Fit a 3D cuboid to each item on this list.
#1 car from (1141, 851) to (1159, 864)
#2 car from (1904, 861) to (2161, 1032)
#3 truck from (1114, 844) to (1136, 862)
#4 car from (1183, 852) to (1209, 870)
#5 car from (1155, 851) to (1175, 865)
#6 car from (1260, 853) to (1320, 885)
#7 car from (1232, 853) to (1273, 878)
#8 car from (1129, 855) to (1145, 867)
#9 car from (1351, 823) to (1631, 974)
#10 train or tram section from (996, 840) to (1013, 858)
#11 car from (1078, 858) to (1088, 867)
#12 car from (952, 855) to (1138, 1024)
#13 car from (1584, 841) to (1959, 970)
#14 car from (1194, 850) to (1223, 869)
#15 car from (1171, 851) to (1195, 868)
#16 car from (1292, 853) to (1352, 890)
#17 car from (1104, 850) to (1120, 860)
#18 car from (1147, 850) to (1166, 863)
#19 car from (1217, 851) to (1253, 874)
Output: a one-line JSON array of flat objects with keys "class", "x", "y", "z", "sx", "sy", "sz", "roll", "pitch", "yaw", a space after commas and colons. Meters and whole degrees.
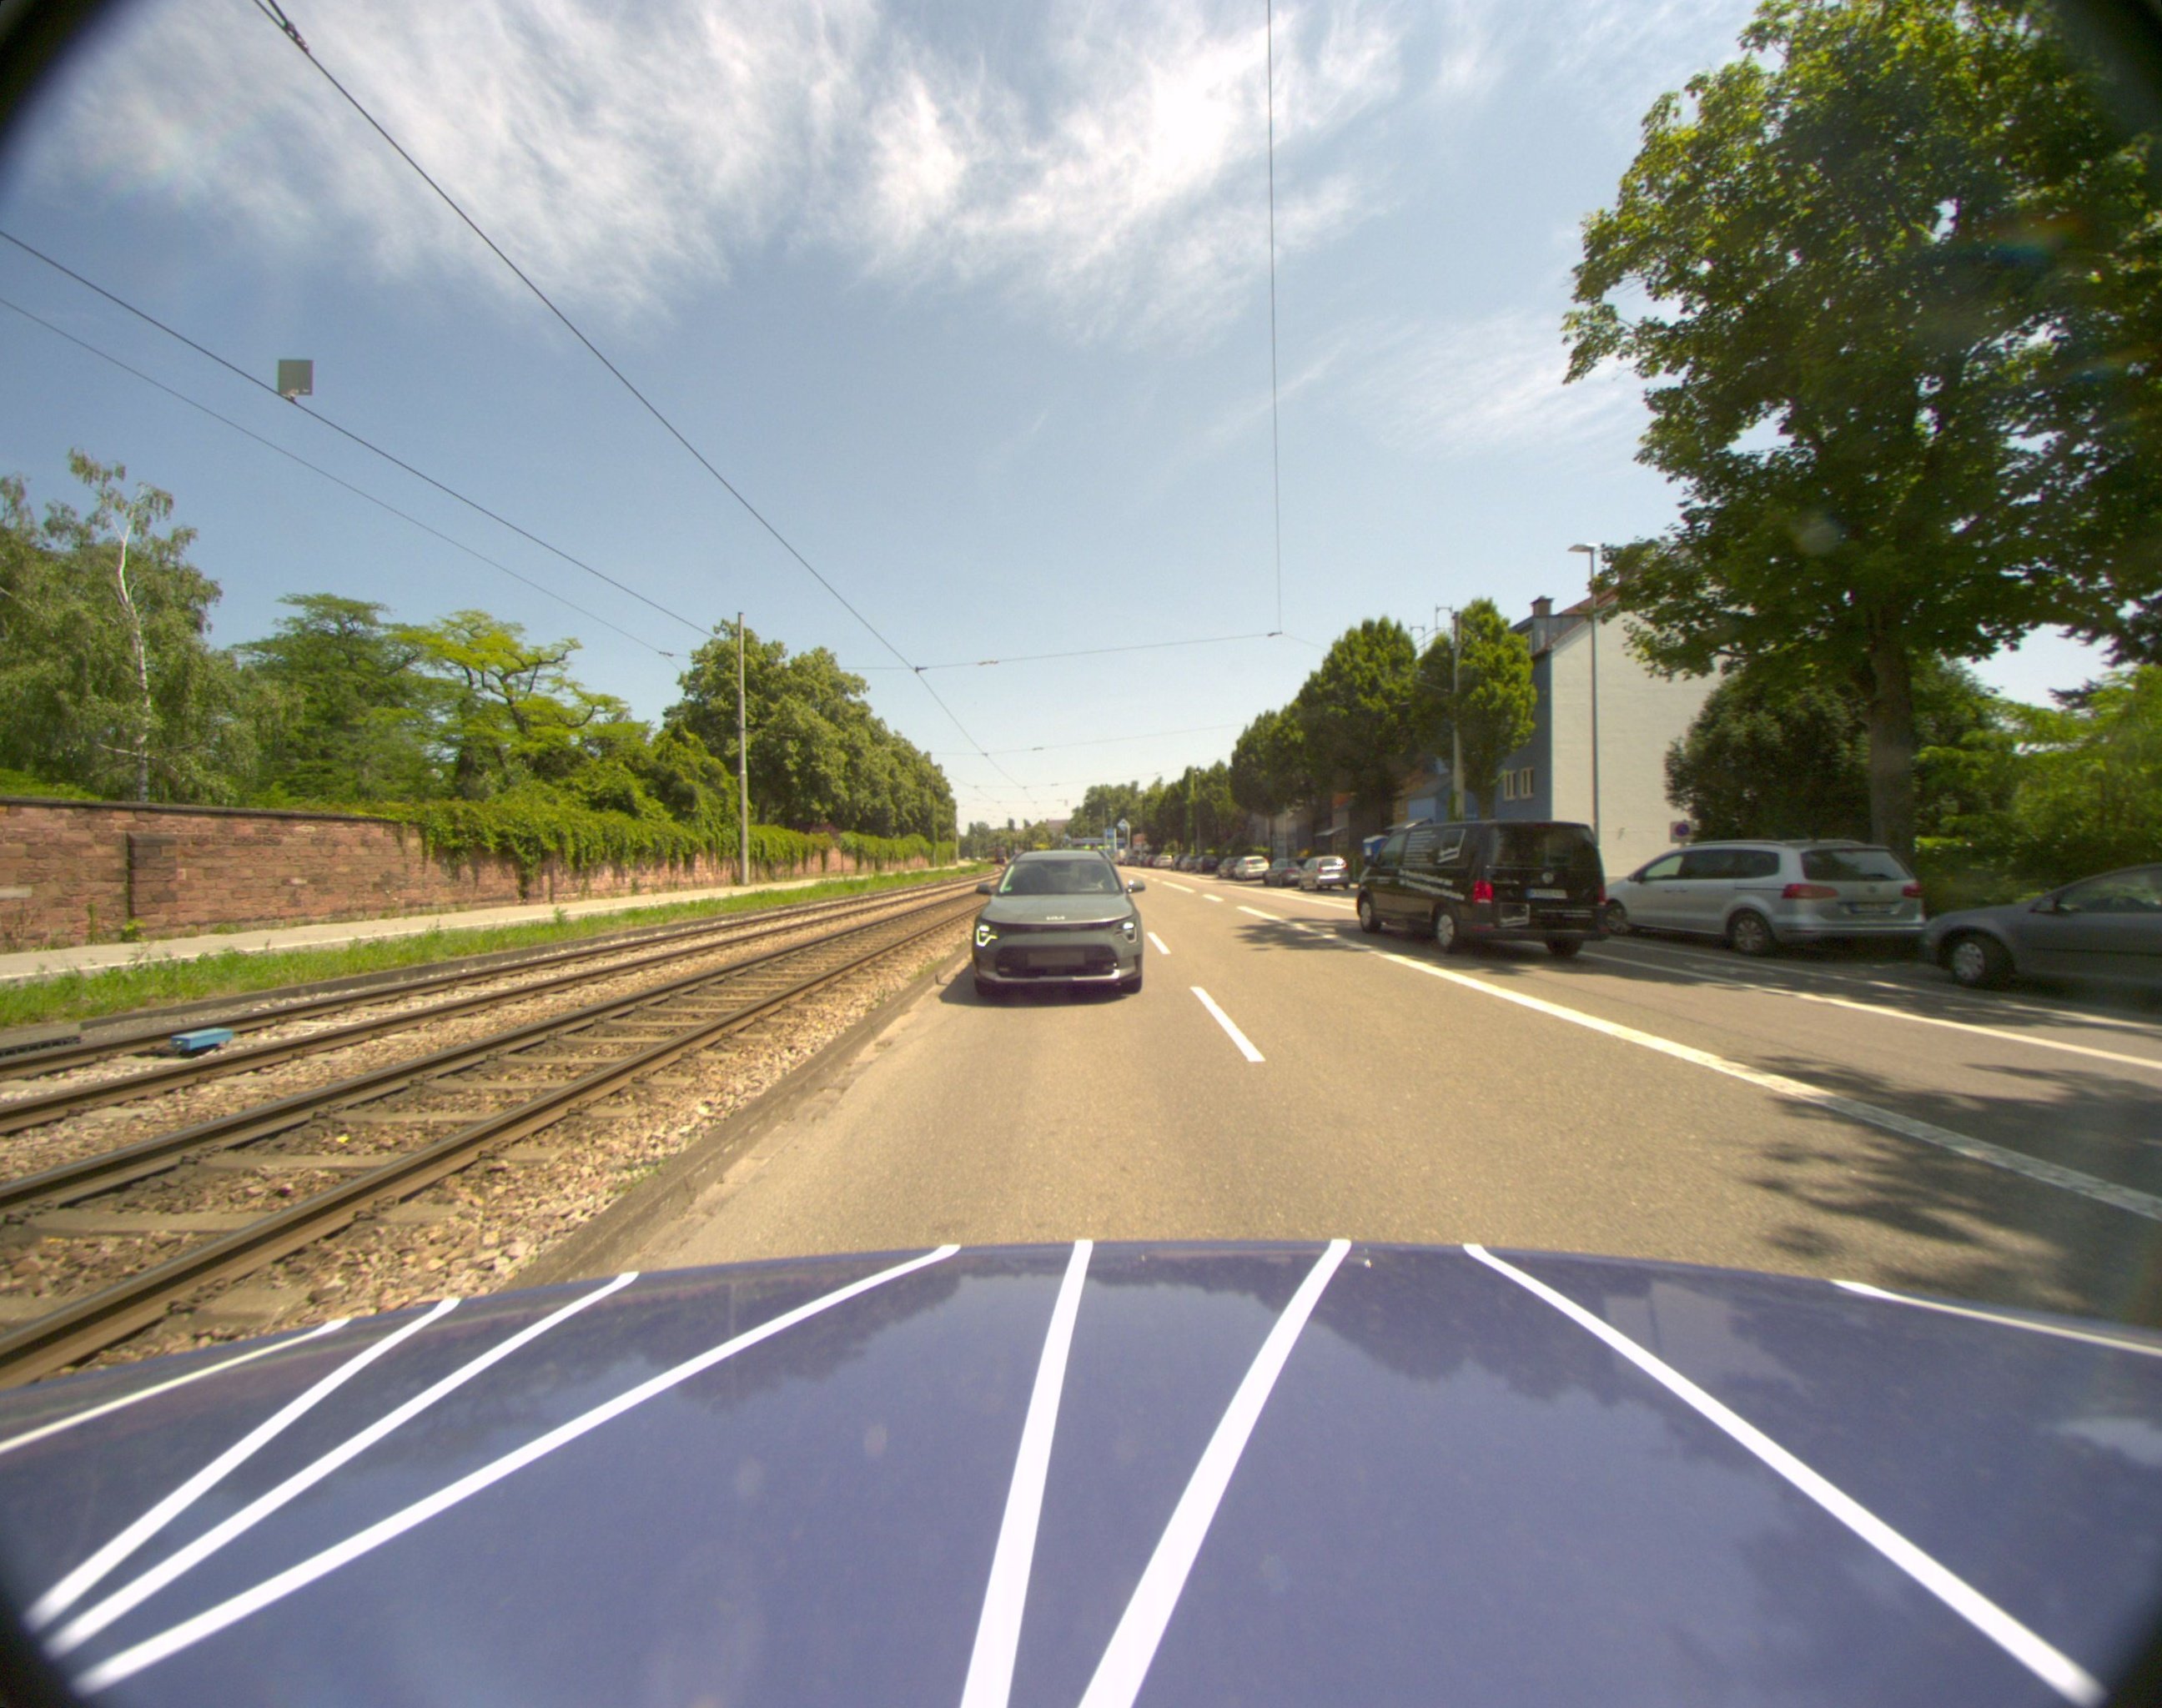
[{"class": "car", "x": 9.009, "y": 0.448, "z": 99.251, "sx": 1.865, "sy": 1.487, "sz": 3.470, "roll": -4, "pitch": 0, "yaw": -1}, {"class": "car", "x": 10.586, "y": 0.847, "z": 6.928, "sx": 1.680, "sy": 1.478, "sz": 4.128, "roll": -1, "pitch": 0, "yaw": 0}, {"class": "truck", "x": 6.612, "y": -0.181, "z": 114.375, "sx": 2.135, "sy": 2.565, "sz": 4.860, "roll": -4, "pitch": 0, "yaw": -9}, {"class": "car", "x": 10.663, "y": 0.605, "z": 70.764, "sx": 1.656, "sy": 1.487, "sz": 4.082, "roll": -4, "pitch": 0, "yaw": -1}, {"class": "car", "x": 9.745, "y": 0.397, "z": 88.608, "sx": 1.723, "sy": 1.487, "sz": 4.082, "roll": -4, "pitch": 0, "yaw": -1}, {"class": "car", "x": 10.781, "y": 0.729, "z": 39.540, "sx": 1.680, "sy": 1.487, "sz": 4.638, "roll": -4, "pitch": 0, "yaw": -1}, {"class": "car", "x": 11.126, "y": 0.729, "z": 49.454, "sx": 1.656, "sy": 1.487, "sz": 3.649, "roll": -4, "pitch": 0, "yaw": -1}, {"class": "car", "x": 8.032, "y": 0.961, "z": 108.358, "sx": 1.865, "sy": 1.487, "sz": 3.470, "roll": -4, "pitch": 0, "yaw": -1}, {"class": "car", "x": 6.042, "y": 0.564, "z": 11.989, "sx": 1.923, "sy": 1.899, "sz": 4.570, "roll": 1, "pitch": 0, "yaw": 0}, {"class": "train or tram section", "x": -17.113, "y": -1.249, "z": 170.610, "sx": 2.814, "sy": 3.785, "sz": 14.257, "roll": -1, "pitch": 1, "yaw": -2}, {"class": "car", "x": 0.328, "y": 1.737, "z": 155.542, "sx": 1.865, "sy": 1.487, "sz": 3.470, "roll": -4, "pitch": 0, "yaw": -1}, {"class": "car", "x": -0.192, "y": 0.830, "z": 9.505, "sx": 1.758, "sy": 1.574, "sz": 4.428, "roll": -1, "pitch": 0, "yaw": 4}, {"class": "car", "x": 10.763, "y": 0.686, "z": 12.483, "sx": 1.975, "sy": 1.679, "sz": 4.688, "roll": -1, "pitch": 0, "yaw": 2}, {"class": "car", "x": 11.069, "y": 0.471, "z": 66.288, "sx": 1.656, "sy": 1.487, "sz": 4.082, "roll": -4, "pitch": 0, "yaw": -1}, {"class": "car", "x": 10.344, "y": 0.516, "z": 77.182, "sx": 1.656, "sy": 1.578, "sz": 4.082, "roll": -4, "pitch": 0, "yaw": -1}, {"class": "car", "x": 10.850, "y": 0.741, "z": 34.416, "sx": 1.505, "sy": 1.487, "sz": 3.281, "roll": -4, "pitch": 0, "yaw": -1}, {"class": "car", "x": 5.168, "y": 0.221, "z": 126.013, "sx": 1.866, "sy": 1.487, "sz": 3.468, "roll": -4, "pitch": 0, "yaw": -9}, {"class": "car", "x": 9.388, "y": 0.333, "z": 94.314, "sx": 1.865, "sy": 1.487, "sz": 3.470, "roll": -4, "pitch": 0, "yaw": -1}, {"class": "car", "x": 11.096, "y": 0.594, "z": 55.069, "sx": 1.656, "sy": 1.487, "sz": 4.082, "roll": -4, "pitch": 0, "yaw": -1}]
